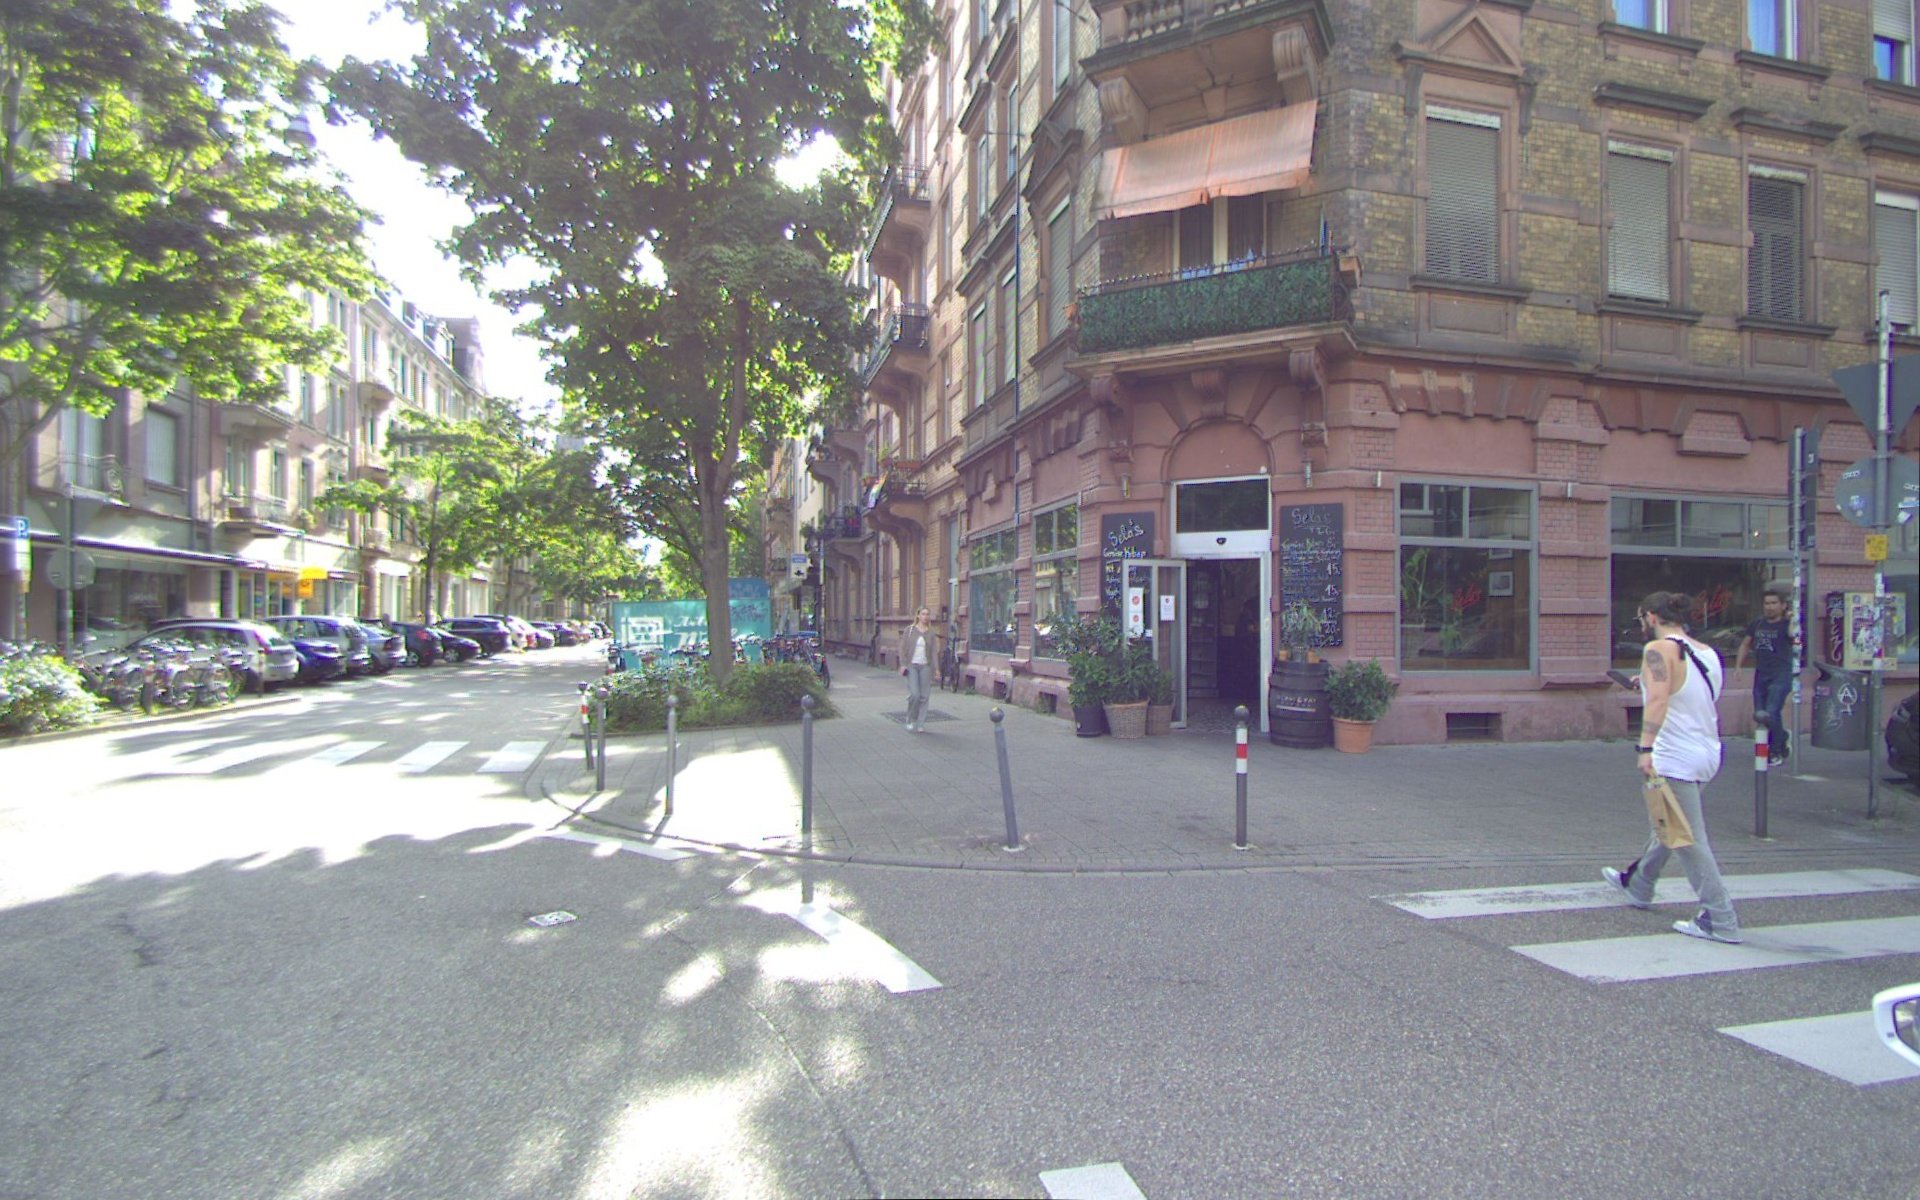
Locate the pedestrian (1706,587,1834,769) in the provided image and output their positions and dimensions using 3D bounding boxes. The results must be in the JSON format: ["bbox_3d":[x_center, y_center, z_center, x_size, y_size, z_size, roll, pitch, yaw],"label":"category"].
[{"bbox_3d":[8.678,0.801,10.781,0.843,1.865,0.676,0,1,-17],"label":"pedestrian"}]

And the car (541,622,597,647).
[{"bbox_3d":[-26.228,2.301,67.394,3.302,1.614,1.592,0,0,-13],"label":"car"}]

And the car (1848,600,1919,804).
[{"bbox_3d":[10.645,0.919,9.171,4.334,1.797,1.759,0,0,-16],"label":"car"}]

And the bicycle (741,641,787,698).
[{"bbox_3d":[-3.994,1.382,20.336,0.582,1.025,2.067,-1,-1,-20],"label":"bicycle"}]

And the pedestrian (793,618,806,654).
[{"bbox_3d":[-7.709,1.743,48.363,0.559,1.705,0.625,0,-1,-4],"label":"pedestrian"}]

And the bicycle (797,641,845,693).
[{"bbox_3d":[-2.985,1.405,21.469,0.582,0.981,2.067,-1,-1,-20],"label":"bicycle"}]

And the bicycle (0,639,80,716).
[{"bbox_3d":[-15.281,1.228,16.353,0.471,1.149,2.423,0,-1,-17],"label":"bicycle"}]

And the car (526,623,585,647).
[{"bbox_3d":[-25.692,2.239,63.846,3.282,1.495,1.403,0,-2,-14],"label":"car"}]

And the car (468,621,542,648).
[{"bbox_3d":[-23.590,1.791,52.159,3.282,1.333,1.403,0,-2,-14],"label":"car"}]

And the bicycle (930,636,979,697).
[{"bbox_3d":[-0.128,1.255,19.357,0.519,1.081,1.778,1,0,-14],"label":"bicycle"}]

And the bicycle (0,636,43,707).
[{"bbox_3d":[-15.785,1.164,16.192,0.471,1.149,2.423,0,-2,-17],"label":"bicycle"}]

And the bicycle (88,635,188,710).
[{"bbox_3d":[-13.843,1.185,16.988,0.471,1.149,2.255,0,-1,-17],"label":"bicycle"}]

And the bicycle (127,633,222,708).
[{"bbox_3d":[-13.351,1.164,17.145,0.471,1.173,2.283,0,-1,-17],"label":"bicycle"}]

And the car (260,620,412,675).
[{"bbox_3d":[-17.254,1.297,27.913,3.282,1.462,1.373,0,-2,-14],"label":"car"}]

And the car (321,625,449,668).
[{"bbox_3d":[-18.431,1.485,32.300,3.282,1.350,1.373,0,-2,-14],"label":"car"}]

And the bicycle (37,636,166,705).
[{"bbox_3d":[-15.187,1.212,17.871,0.696,1.116,2.506,-1,-1,-14],"label":"bicycle"}]

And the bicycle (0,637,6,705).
[{"bbox_3d":[-16.323,1.190,16.015,0.570,1.149,2.423,0,-1,-17],"label":"bicycle"}]

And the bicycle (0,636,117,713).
[{"bbox_3d":[-14.803,1.187,16.557,0.471,1.149,2.423,0,-2,-17],"label":"bicycle"}]

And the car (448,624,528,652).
[{"bbox_3d":[-22.991,1.847,49.016,3.282,1.333,1.403,0,-2,-14],"label":"car"}]

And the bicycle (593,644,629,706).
[{"bbox_3d":[-6.582,1.381,18.926,0.582,1.043,2.132,-1,-1,-20],"label":"bicycle"}]

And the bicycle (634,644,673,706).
[{"bbox_3d":[-5.827,1.384,19.029,0.582,1.043,2.067,-1,-1,-20],"label":"bicycle"}]

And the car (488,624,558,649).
[{"bbox_3d":[-23.903,2.016,54.999,3.282,1.333,1.403,0,-2,-14],"label":"car"}]

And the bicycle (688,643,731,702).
[{"bbox_3d":[-4.898,1.381,19.556,0.582,1.025,2.067,-1,-1,-20],"label":"bicycle"}]

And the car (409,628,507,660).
[{"bbox_3d":[-20.207,1.776,40.558,3.282,1.270,1.373,0,-2,-14],"label":"car"}]

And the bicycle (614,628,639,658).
[{"bbox_3d":[-14.885,1.899,44.888,0.680,1.215,1.975,1,0,-8],"label":"bicycle"}]

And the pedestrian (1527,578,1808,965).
[{"bbox_3d":[3.550,0.768,5.062,0.798,1.693,1.010,2,-2,-42],"label":"pedestrian"}]

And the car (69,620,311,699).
[{"bbox_3d":[-15.861,1.187,20.887,3.636,1.496,1.572,0,0,-14],"label":"car"}]

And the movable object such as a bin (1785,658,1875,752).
[{"bbox_3d":[7.204,0.858,8.324,0.468,0.724,0.382,0,0,-19],"label":"movable object such as a bin"}]

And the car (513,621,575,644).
[{"bbox_3d":[-25.419,2.001,61.425,3.282,1.333,1.403,0,-2,-14],"label":"car"}]

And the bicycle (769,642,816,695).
[{"bbox_3d":[-3.523,1.404,20.947,0.582,0.981,2.067,-1,-1,-20],"label":"bicycle"}]

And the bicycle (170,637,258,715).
[{"bbox_3d":[-12.895,1.277,17.438,0.471,1.240,2.285,0,-1,-17],"label":"bicycle"}]

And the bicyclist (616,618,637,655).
[{"bbox_3d":[-14.885,1.636,44.871,0.680,1.608,1.126,1,0,-8],"label":"bicyclist"}]

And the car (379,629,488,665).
[{"bbox_3d":[-19.301,1.712,36.925,3.282,1.270,1.373,0,-2,-14],"label":"car"}]

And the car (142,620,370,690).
[{"bbox_3d":[-16.163,1.232,23.262,4.005,1.496,1.572,0,0,-14],"label":"car"}]

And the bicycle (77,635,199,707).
[{"bbox_3d":[-14.690,1.230,18.039,0.639,1.117,2.507,-1,0,-13],"label":"bicycle"}]

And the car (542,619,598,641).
[{"bbox_3d":[-28.278,2.151,72.986,3.657,1.492,1.798,0,0,-18],"label":"car"}]

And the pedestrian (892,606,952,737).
[{"bbox_3d":[-0.508,0.899,13.003,0.604,1.599,0.808,-3,1,-10],"label":"pedestrian"}]

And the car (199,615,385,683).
[{"bbox_3d":[-16.962,1.209,25.679,3.636,1.618,1.572,0,0,-14],"label":"car"}]
